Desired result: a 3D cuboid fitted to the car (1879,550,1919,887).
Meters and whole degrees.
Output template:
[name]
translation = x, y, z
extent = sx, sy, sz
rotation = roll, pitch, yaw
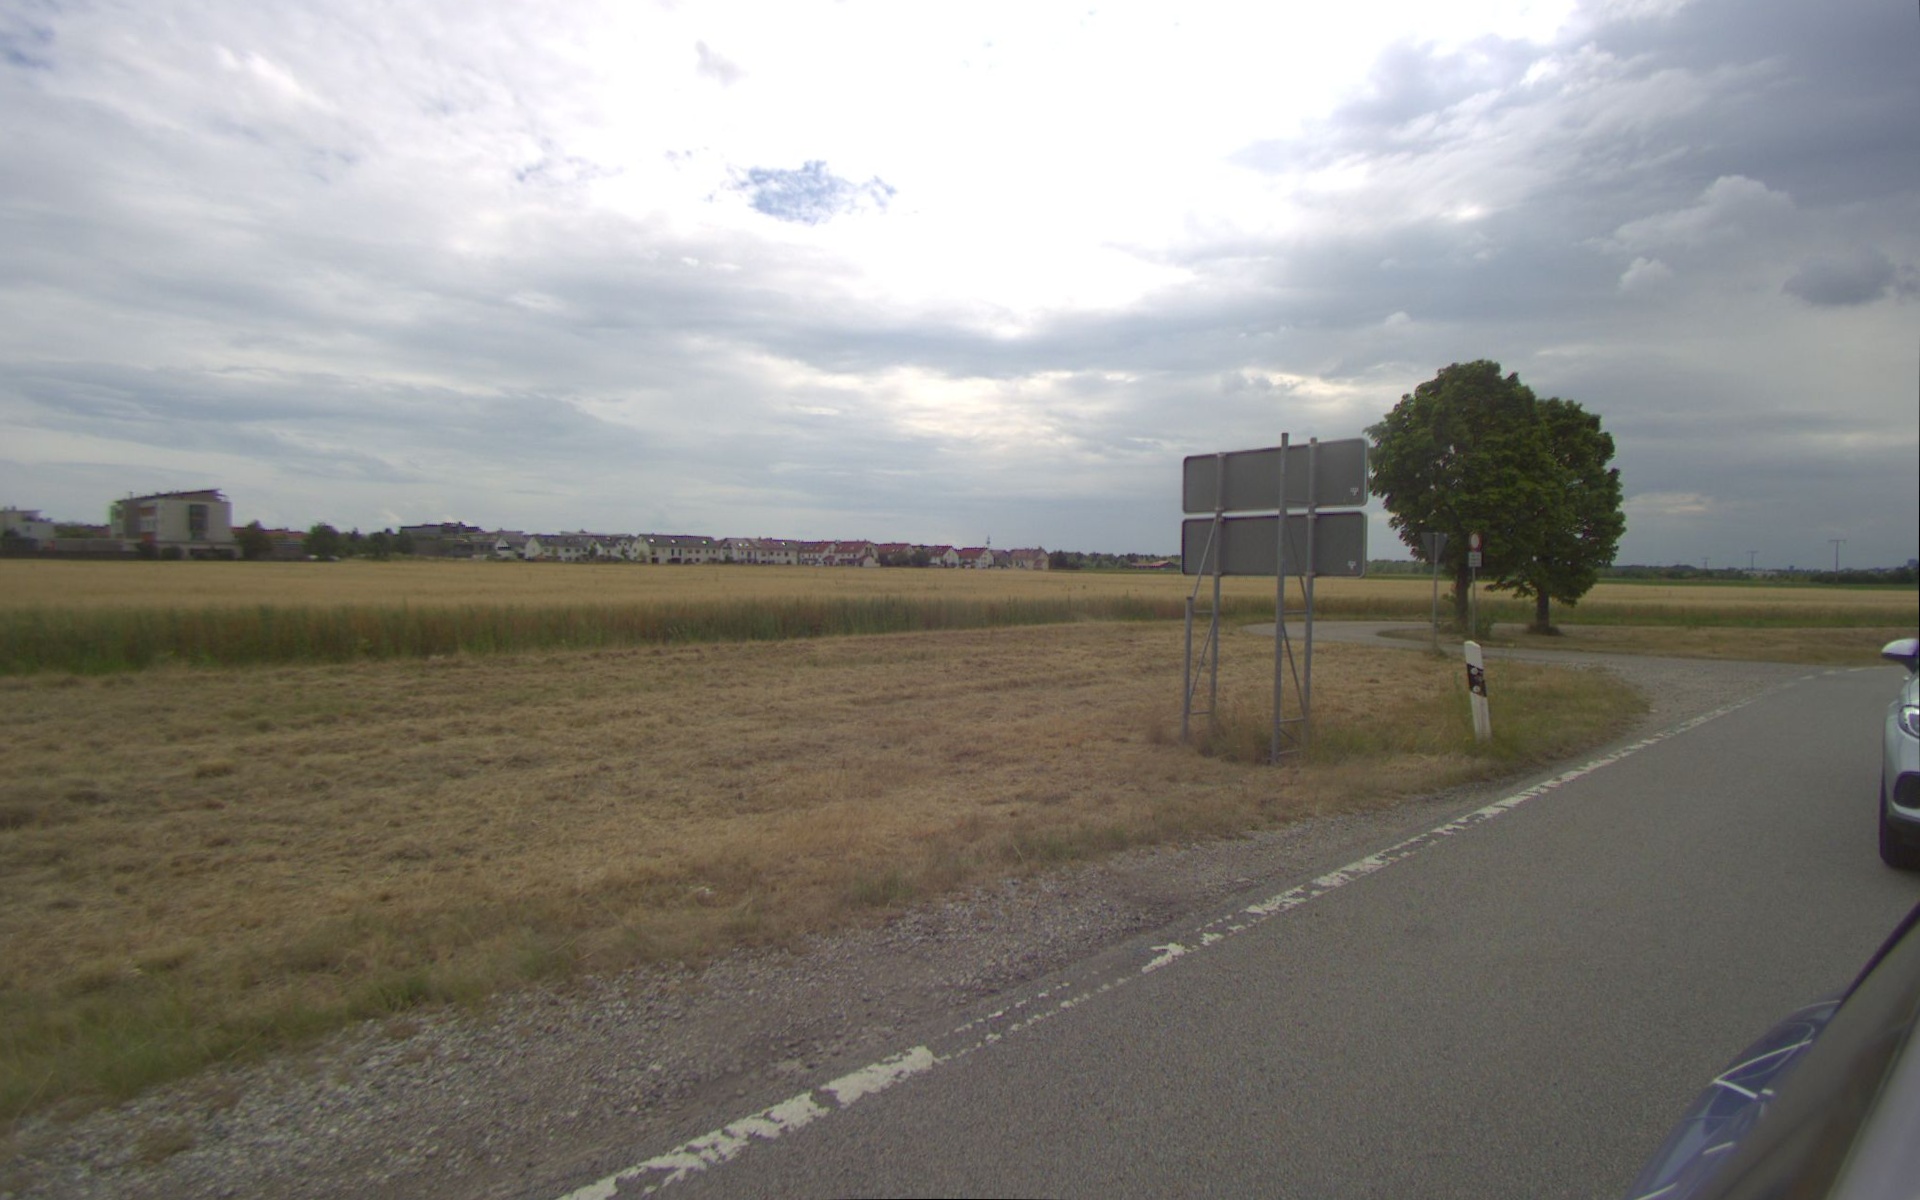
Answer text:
[car]
translation = 6.695, 0.579, 5.763
extent = 4.375, 1.606, 1.834
rotation = 0, 1, -43
